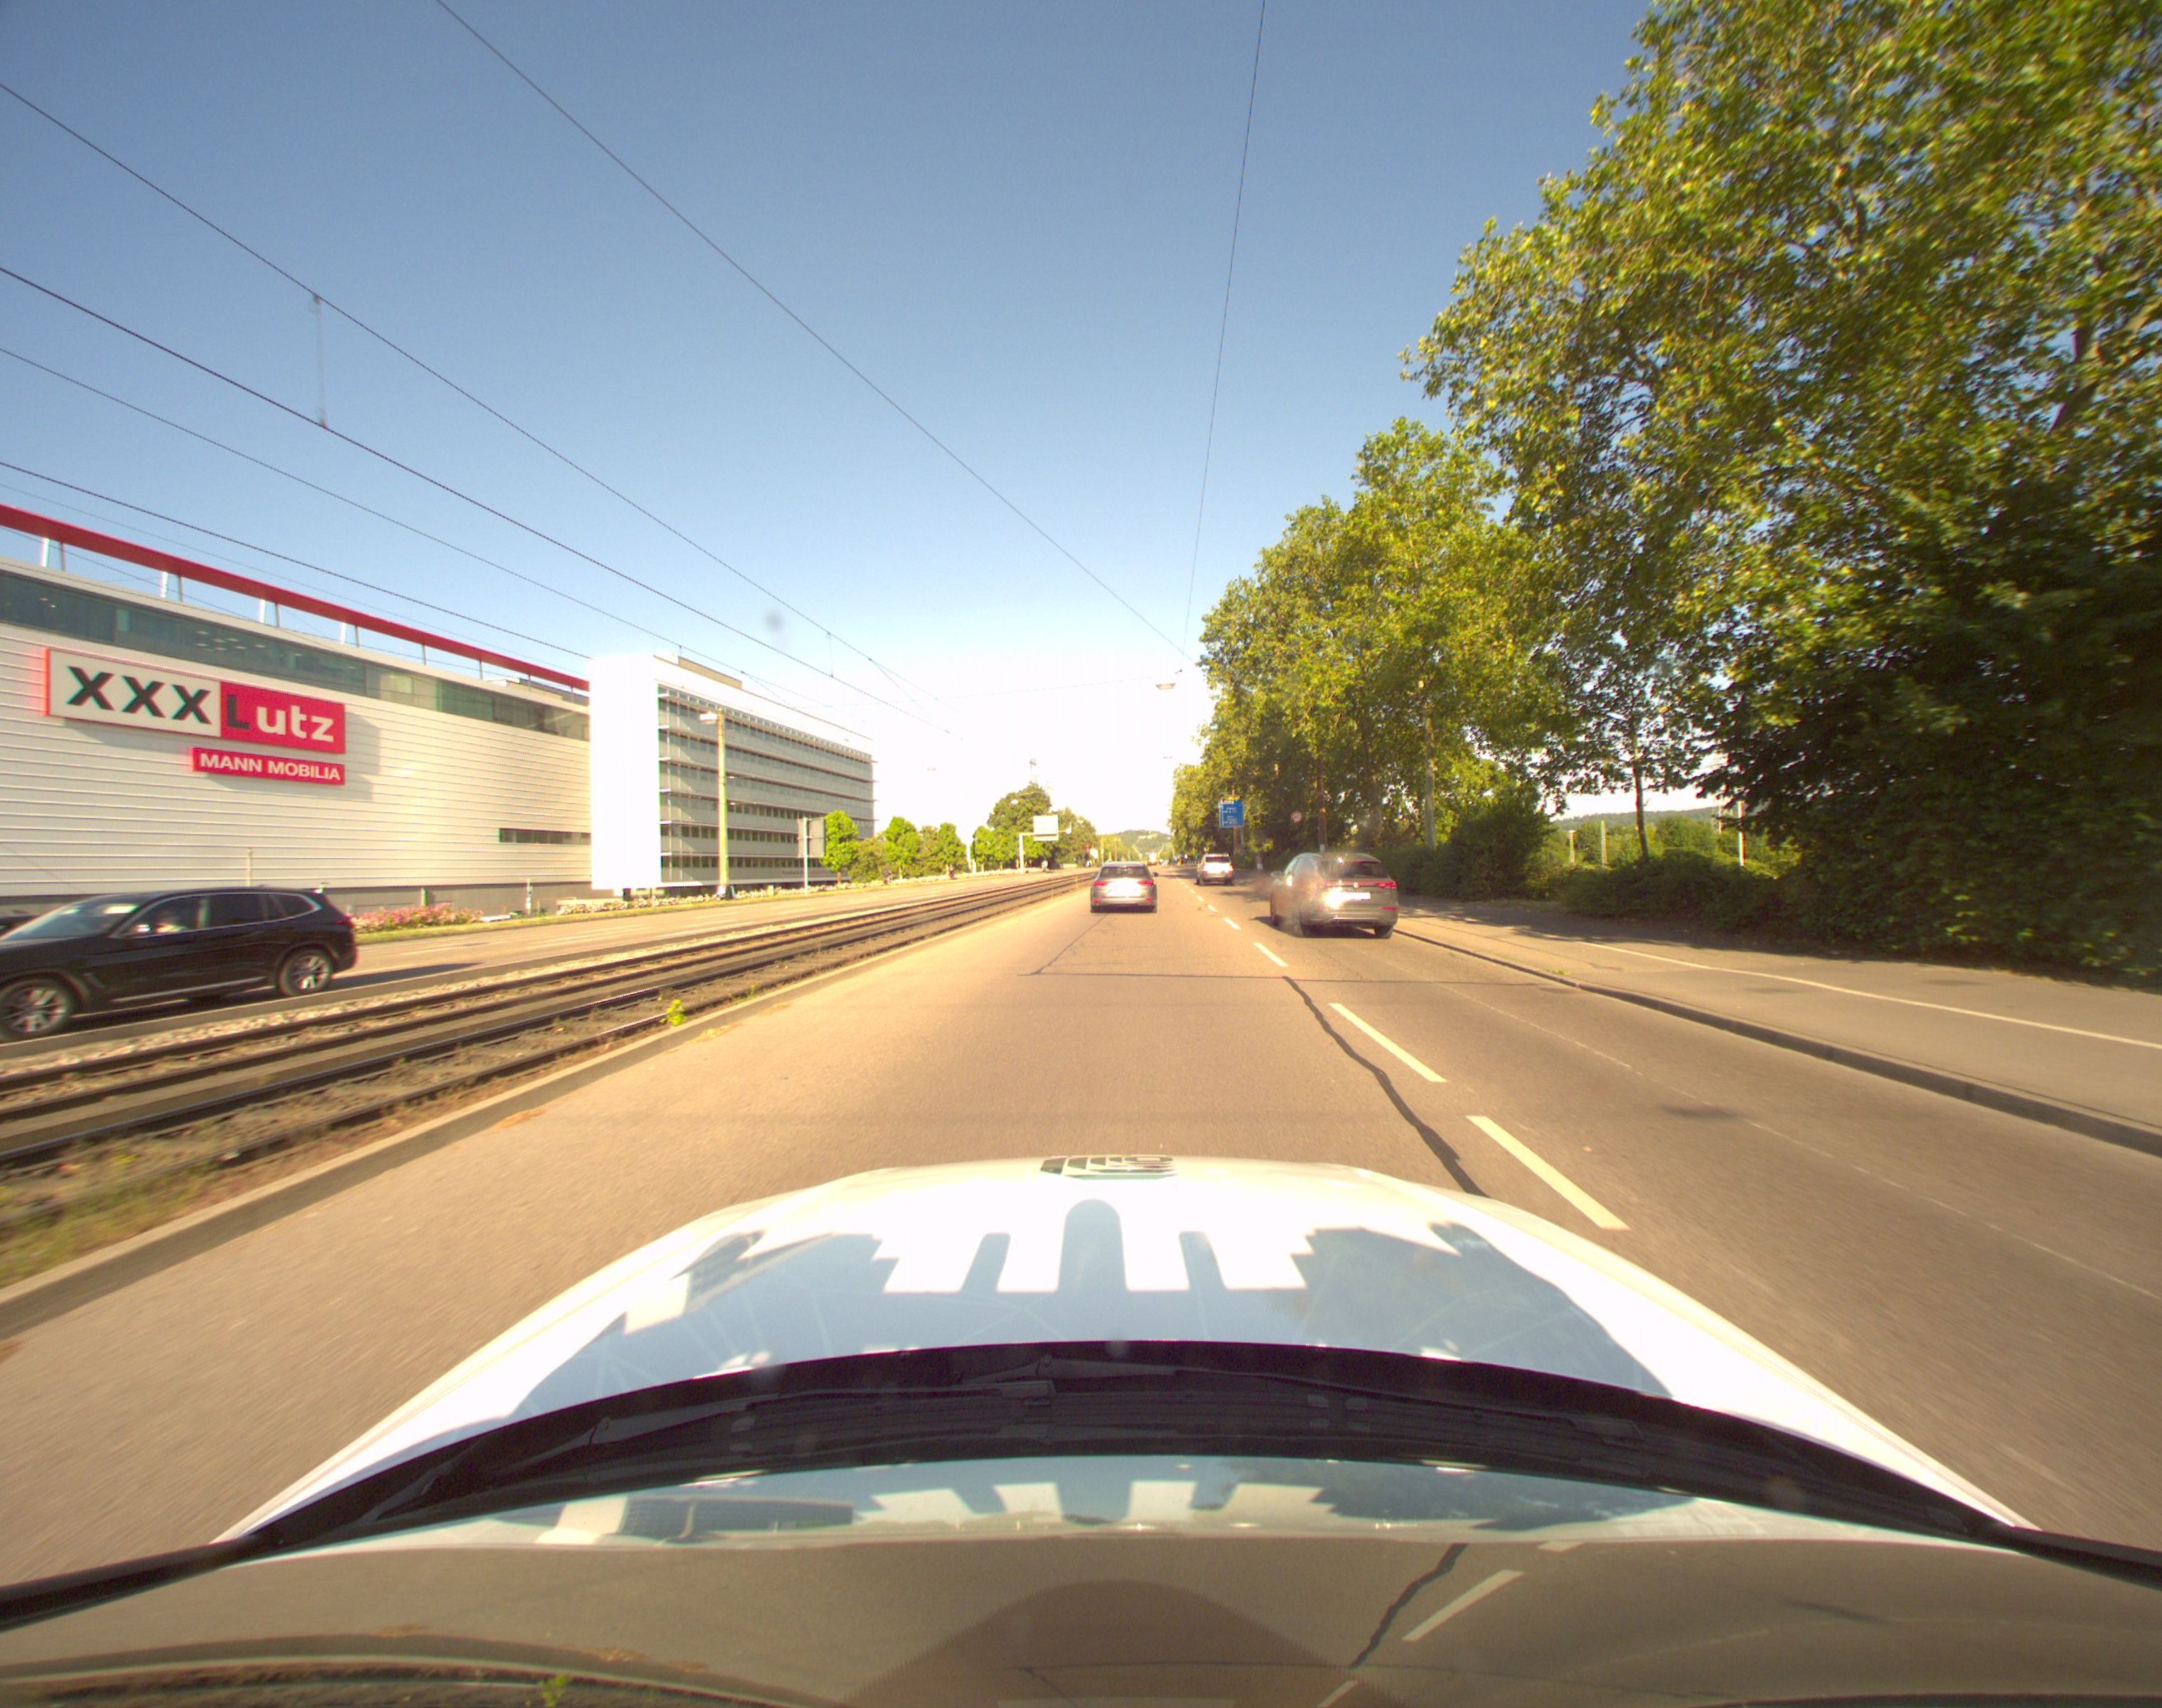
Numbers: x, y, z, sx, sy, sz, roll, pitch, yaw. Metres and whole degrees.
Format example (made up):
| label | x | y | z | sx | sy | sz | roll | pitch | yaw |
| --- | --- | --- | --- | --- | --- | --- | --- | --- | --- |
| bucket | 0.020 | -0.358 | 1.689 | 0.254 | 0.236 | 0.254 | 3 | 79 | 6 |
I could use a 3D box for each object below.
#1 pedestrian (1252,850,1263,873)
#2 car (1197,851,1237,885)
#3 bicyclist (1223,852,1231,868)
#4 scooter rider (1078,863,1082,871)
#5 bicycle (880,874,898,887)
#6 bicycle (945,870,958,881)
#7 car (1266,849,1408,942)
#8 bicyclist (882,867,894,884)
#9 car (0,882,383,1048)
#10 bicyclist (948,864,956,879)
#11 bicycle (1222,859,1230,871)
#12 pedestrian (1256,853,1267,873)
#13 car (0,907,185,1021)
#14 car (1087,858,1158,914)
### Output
| label | x | y | z | sx | sy | sz | roll | pitch | yaw |
| --- | --- | --- | --- | --- | --- | --- | --- | --- | --- |
| pedestrian | 13.685 | 0.601 | 63.175 | 0.719 | 1.708 | 0.814 | -3 | -1 | 5 |
| car | 7.367 | 0.741 | 44.546 | 1.874 | 1.796 | 4.006 | 0 | 0 | 5 |
| bicyclist | 13.984 | 0.611 | 78.154 | 0.682 | 1.509 | 0.892 | -1 | -1 | 6 |
| scooter rider | -0.162 | 3.014 | 191.028 | 0.677 | 1.848 | 1.004 | -2 | -1 | 13 |
| bicycle | -17.054 | 2.317 | 72.225 | 0.700 | 1.073 | 2.034 | 0 | 0 | 13 |
| bicycle | -14.426 | 2.415 | 91.048 | 0.656 | 1.151 | 2.030 | 0 | 0 | 16 |
| car | 5.110 | 0.752 | 16.877 | 1.836 | 1.661 | 4.445 | 0 | 0 | 4 |
| bicyclist | -17.074 | 1.909 | 72.127 | 0.700 | 1.512 | 0.974 | 0 | 0 | 13 |
| car | -12.554 | 1.326 | 10.920 | 1.983 | 1.655 | 4.667 | -3 | 0 | 7 |
| bicyclist | -14.409 | 1.984 | 91.100 | 0.656 | 1.623 | 0.804 | 0 | 0 | 15 |
| bicycle | 13.952 | 1.020 | 78.263 | 0.619 | 1.120 | 1.816 | -3 | -1 | 6 |
| pedestrian | 13.692 | 0.693 | 61.803 | 0.720 | 1.480 | 0.723 | -3 | -1 | 5 |
| car | -15.987 | 1.633 | 11.513 | 1.848 | 1.461 | 4.143 | -2 | 0 | 4 |
| car | 1.321 | 0.875 | 24.098 | 1.857 | 1.467 | 4.673 | -1 | 0 | 5 |
